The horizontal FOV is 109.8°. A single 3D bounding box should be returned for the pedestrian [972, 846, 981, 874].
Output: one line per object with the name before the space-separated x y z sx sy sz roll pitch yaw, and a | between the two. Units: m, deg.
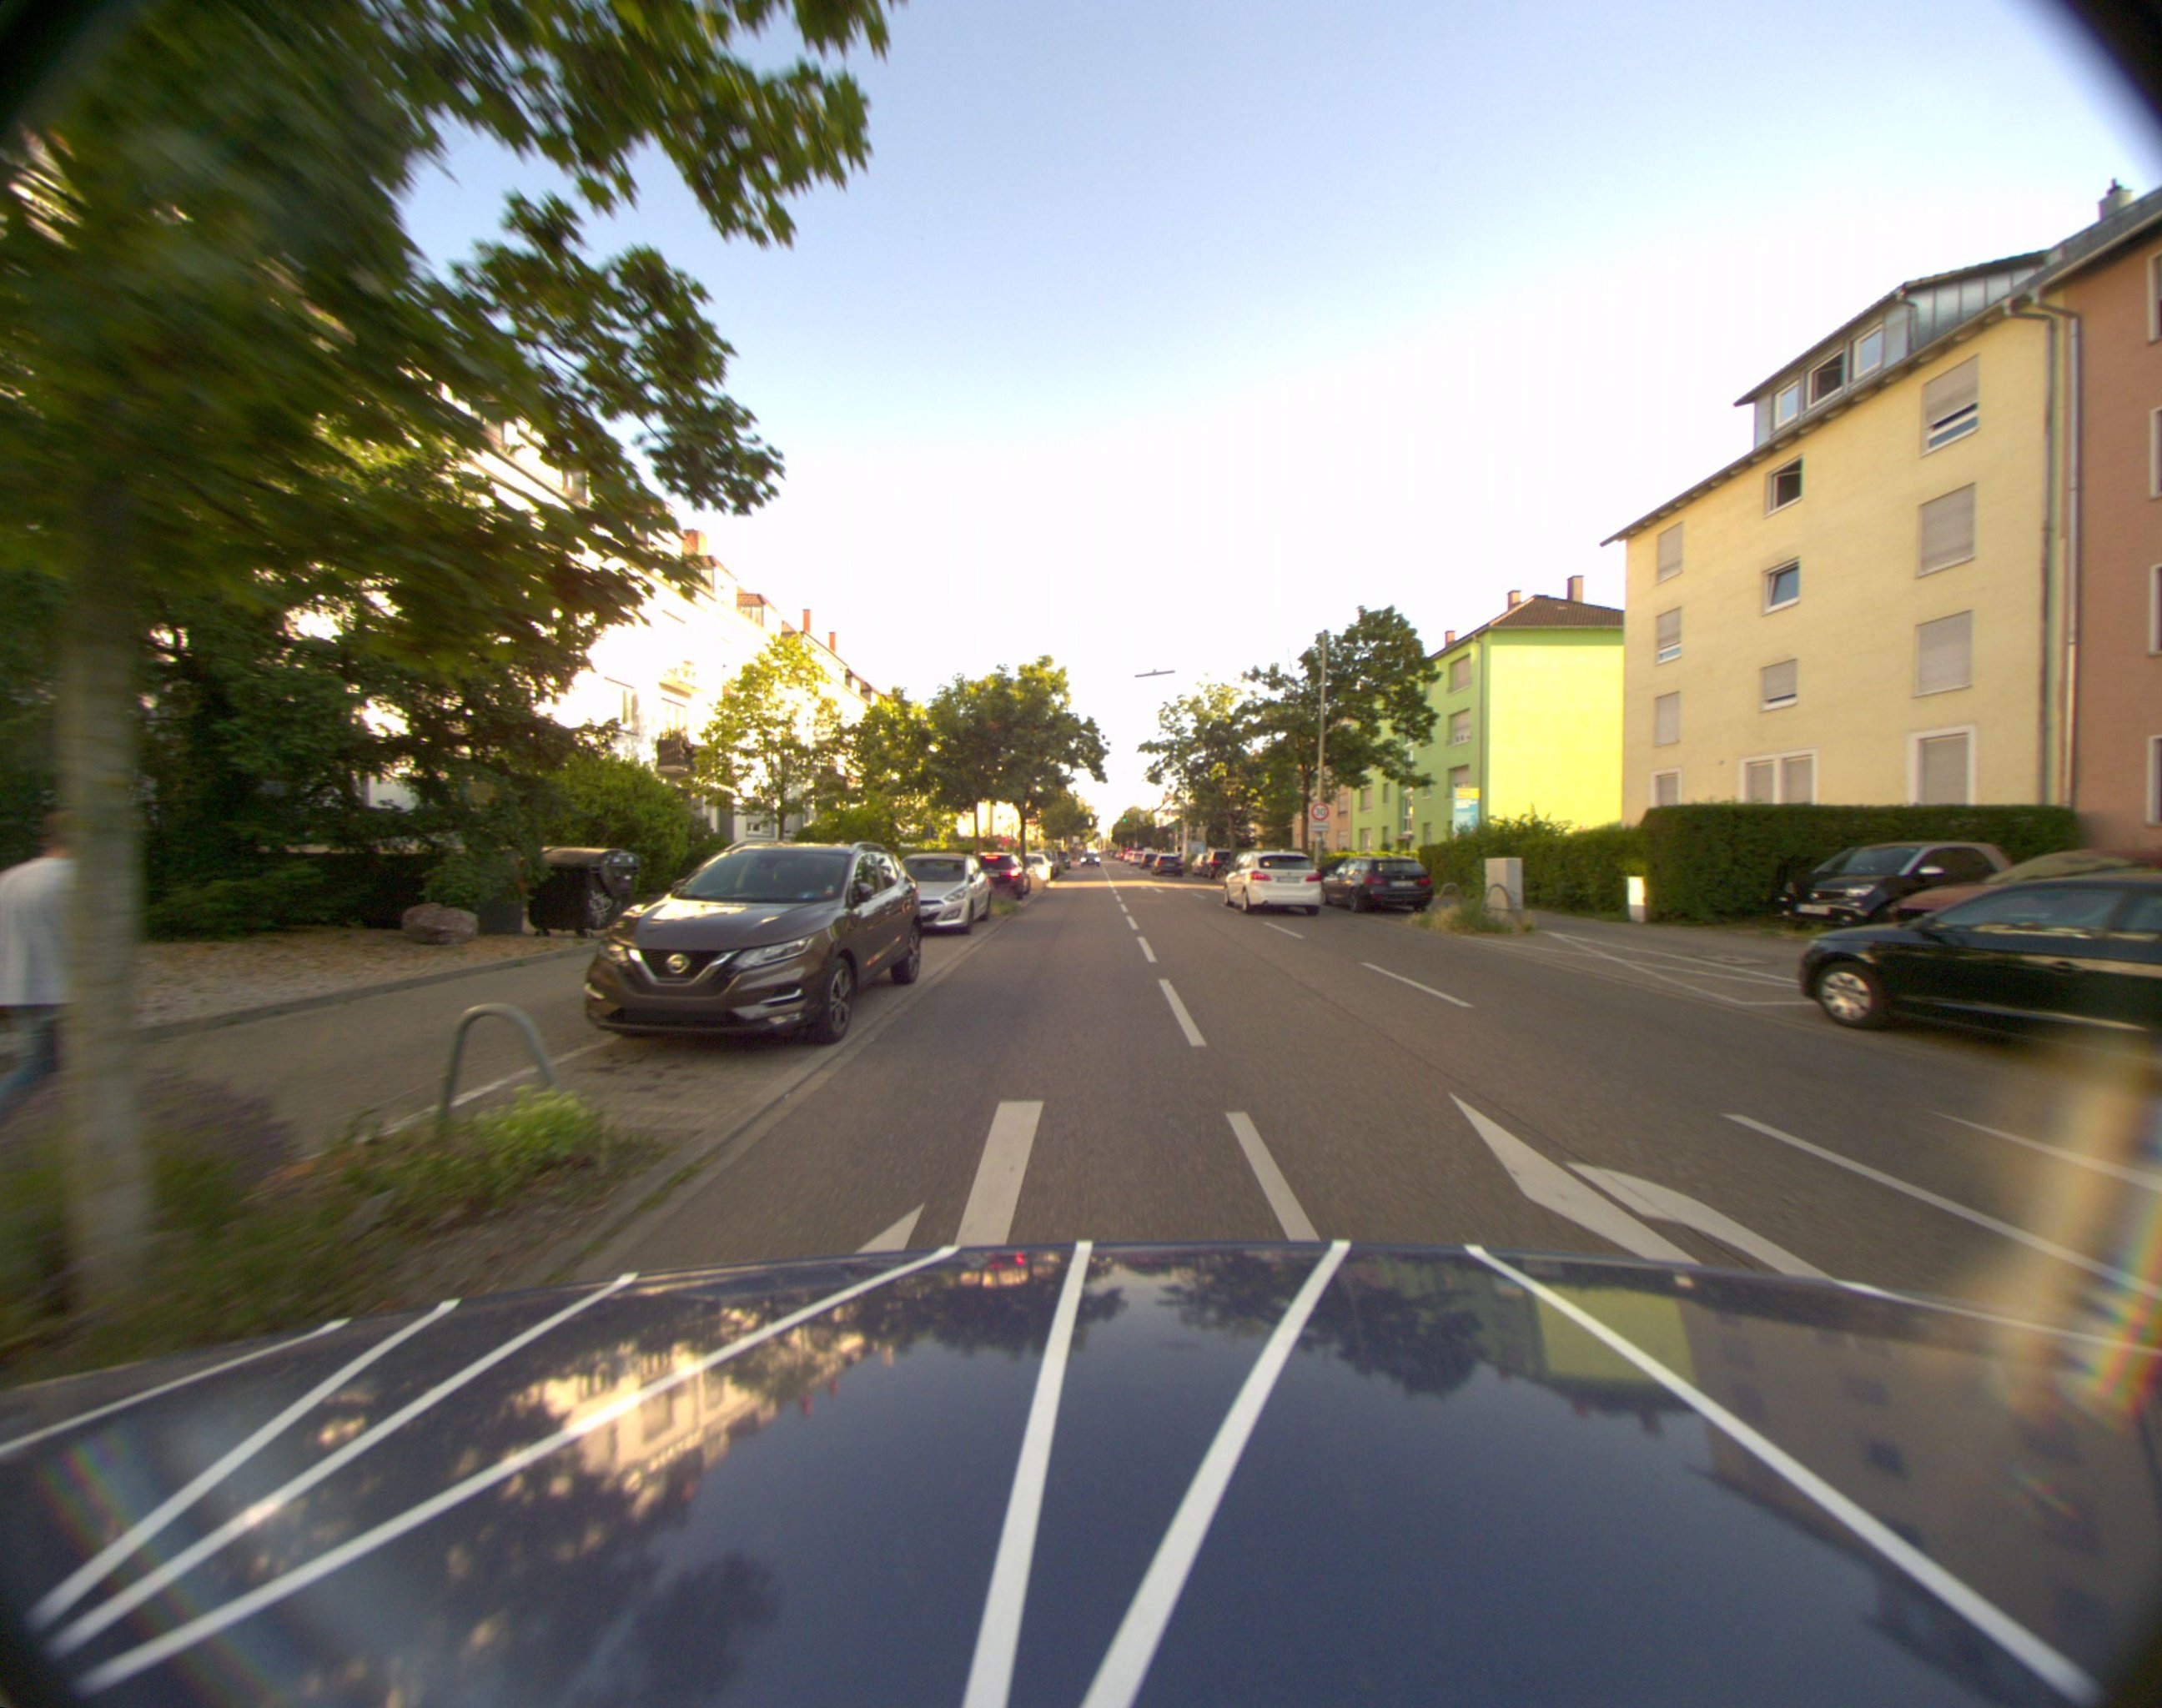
pedestrian | -6.348 0.361 46.159 0.512 1.687 0.527 0 1 -4

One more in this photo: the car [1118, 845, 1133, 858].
car | 6.781 -0.380 115.506 1.998 1.935 4.777 2 1 1

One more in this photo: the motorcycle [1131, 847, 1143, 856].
motorcycle | 10.110 -0.497 137.604 1.263 1.526 2.887 0 1 -13

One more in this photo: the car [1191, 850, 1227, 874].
car | 8.552 0.505 51.188 1.687 1.512 4.190 0 1 0

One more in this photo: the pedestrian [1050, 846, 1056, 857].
pedestrian | -4.370 -0.426 117.710 0.830 1.673 0.660 1 1 5

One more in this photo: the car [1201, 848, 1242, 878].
car | 8.433 0.487 45.990 1.788 1.723 4.617 0 1 2

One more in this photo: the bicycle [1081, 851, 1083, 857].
bicycle | 0.187 0.000 126.878 0.325 0.981 1.191 0 1 5

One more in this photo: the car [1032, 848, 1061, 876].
car | -2.120 0.463 47.826 1.726 1.646 4.596 0 1 -2

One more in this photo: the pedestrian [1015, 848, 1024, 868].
pedestrian | -4.839 0.319 59.754 0.558 1.559 0.747 0 1 -17

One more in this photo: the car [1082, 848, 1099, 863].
car | 1.003 0.134 76.603 1.641 1.482 4.415 1 1 1

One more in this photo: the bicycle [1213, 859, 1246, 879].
bicycle | 8.305 0.845 42.537 1.679 1.083 0.560 -1 1 3

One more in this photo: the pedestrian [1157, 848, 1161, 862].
pedestrian | 11.044 0.163 107.612 0.639 2.002 0.739 0 1 2

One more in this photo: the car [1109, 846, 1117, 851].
car | 7.801 -1.320 185.158 1.845 1.312 4.441 1 1 2

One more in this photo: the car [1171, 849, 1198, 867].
car | 8.931 0.339 65.823 1.641 1.543 3.785 0 1 -2

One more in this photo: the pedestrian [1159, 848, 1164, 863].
pedestrian | 11.293 0.221 106.157 0.645 2.002 0.814 -1 2 2

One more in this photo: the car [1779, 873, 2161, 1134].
car | 7.457 0.953 5.369 1.616 1.464 3.813 -2 0 2

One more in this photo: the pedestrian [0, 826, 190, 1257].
pedestrian | -4.624 0.736 3.182 0.789 1.691 0.808 0 1 6

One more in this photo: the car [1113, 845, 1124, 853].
car | 6.848 -0.943 137.820 1.841 1.465 4.671 2 1 1

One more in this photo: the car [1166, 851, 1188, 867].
car | 8.920 0.443 70.651 1.657 1.471 3.943 0 1 2

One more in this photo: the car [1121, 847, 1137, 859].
car | 6.375 -0.129 102.081 1.820 1.438 4.109 2 1 0

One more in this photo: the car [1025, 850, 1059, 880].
car | -2.171 0.595 43.017 1.640 1.559 4.000 1 1 1

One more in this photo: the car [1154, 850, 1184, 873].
car | 5.750 0.461 50.096 1.704 1.462 4.295 1 1 4

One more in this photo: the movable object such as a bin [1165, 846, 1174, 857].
movable object such as a bin | 14.230 -0.388 121.939 1.309 1.649 1.180 -4 2 1

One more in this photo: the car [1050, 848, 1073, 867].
car | -1.654 0.291 65.592 1.796 1.622 4.029 1 1 0

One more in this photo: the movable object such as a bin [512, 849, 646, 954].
movable object such as a bin | -7.745 0.690 11.776 1.269 1.484 1.140 3 1 11

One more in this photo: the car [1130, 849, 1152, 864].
car | 6.284 0.213 80.335 1.837 1.462 4.450 3 1 -1

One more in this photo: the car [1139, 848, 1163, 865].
car | 6.119 0.202 66.458 1.704 1.395 4.027 2 1 1

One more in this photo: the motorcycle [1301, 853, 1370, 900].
motorcycle | 8.189 0.694 24.448 2.031 1.381 0.988 -3 2 -31

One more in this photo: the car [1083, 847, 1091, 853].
car | 1.549 -1.005 192.683 1.744 1.509 3.811 0 1 3

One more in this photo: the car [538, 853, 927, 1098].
car | -2.752 0.812 7.140 1.722 1.592 4.096 1 1 1

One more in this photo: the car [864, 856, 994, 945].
car | -2.869 0.801 15.269 1.722 1.485 4.393 0 0 0

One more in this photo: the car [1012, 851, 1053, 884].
car | -2.309 0.618 37.334 1.641 1.482 4.415 1 1 1

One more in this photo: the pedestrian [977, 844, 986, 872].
pedestrian | -5.890 0.243 44.996 0.512 1.687 0.527 0 1 -4

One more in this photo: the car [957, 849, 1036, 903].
car | -2.702 0.656 25.409 1.879 1.572 4.821 1 1 3

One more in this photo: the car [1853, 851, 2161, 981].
car | 13.134 0.731 9.968 3.996 1.405 1.916 -2 1 1

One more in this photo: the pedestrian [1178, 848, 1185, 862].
pedestrian | 11.918 0.100 90.077 0.750 1.648 0.608 0 1 -6

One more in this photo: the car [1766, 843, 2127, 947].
car | 13.960 0.627 12.433 3.997 1.520 1.629 -1 1 1

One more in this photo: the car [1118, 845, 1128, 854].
car | 8.710 -0.951 157.448 1.866 1.819 5.228 2 1 3

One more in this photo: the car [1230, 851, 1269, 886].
car | 8.229 0.676 37.250 1.502 1.607 2.862 0 1 4

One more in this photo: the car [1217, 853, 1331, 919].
car | 4.876 0.751 19.784 1.884 1.534 4.267 0 0 0

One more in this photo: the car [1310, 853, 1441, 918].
car | 7.680 0.745 20.347 1.783 1.496 4.588 0 1 1

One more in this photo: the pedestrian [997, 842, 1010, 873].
pedestrian | -4.602 0.186 45.082 0.549 1.839 0.765 0 1 8
